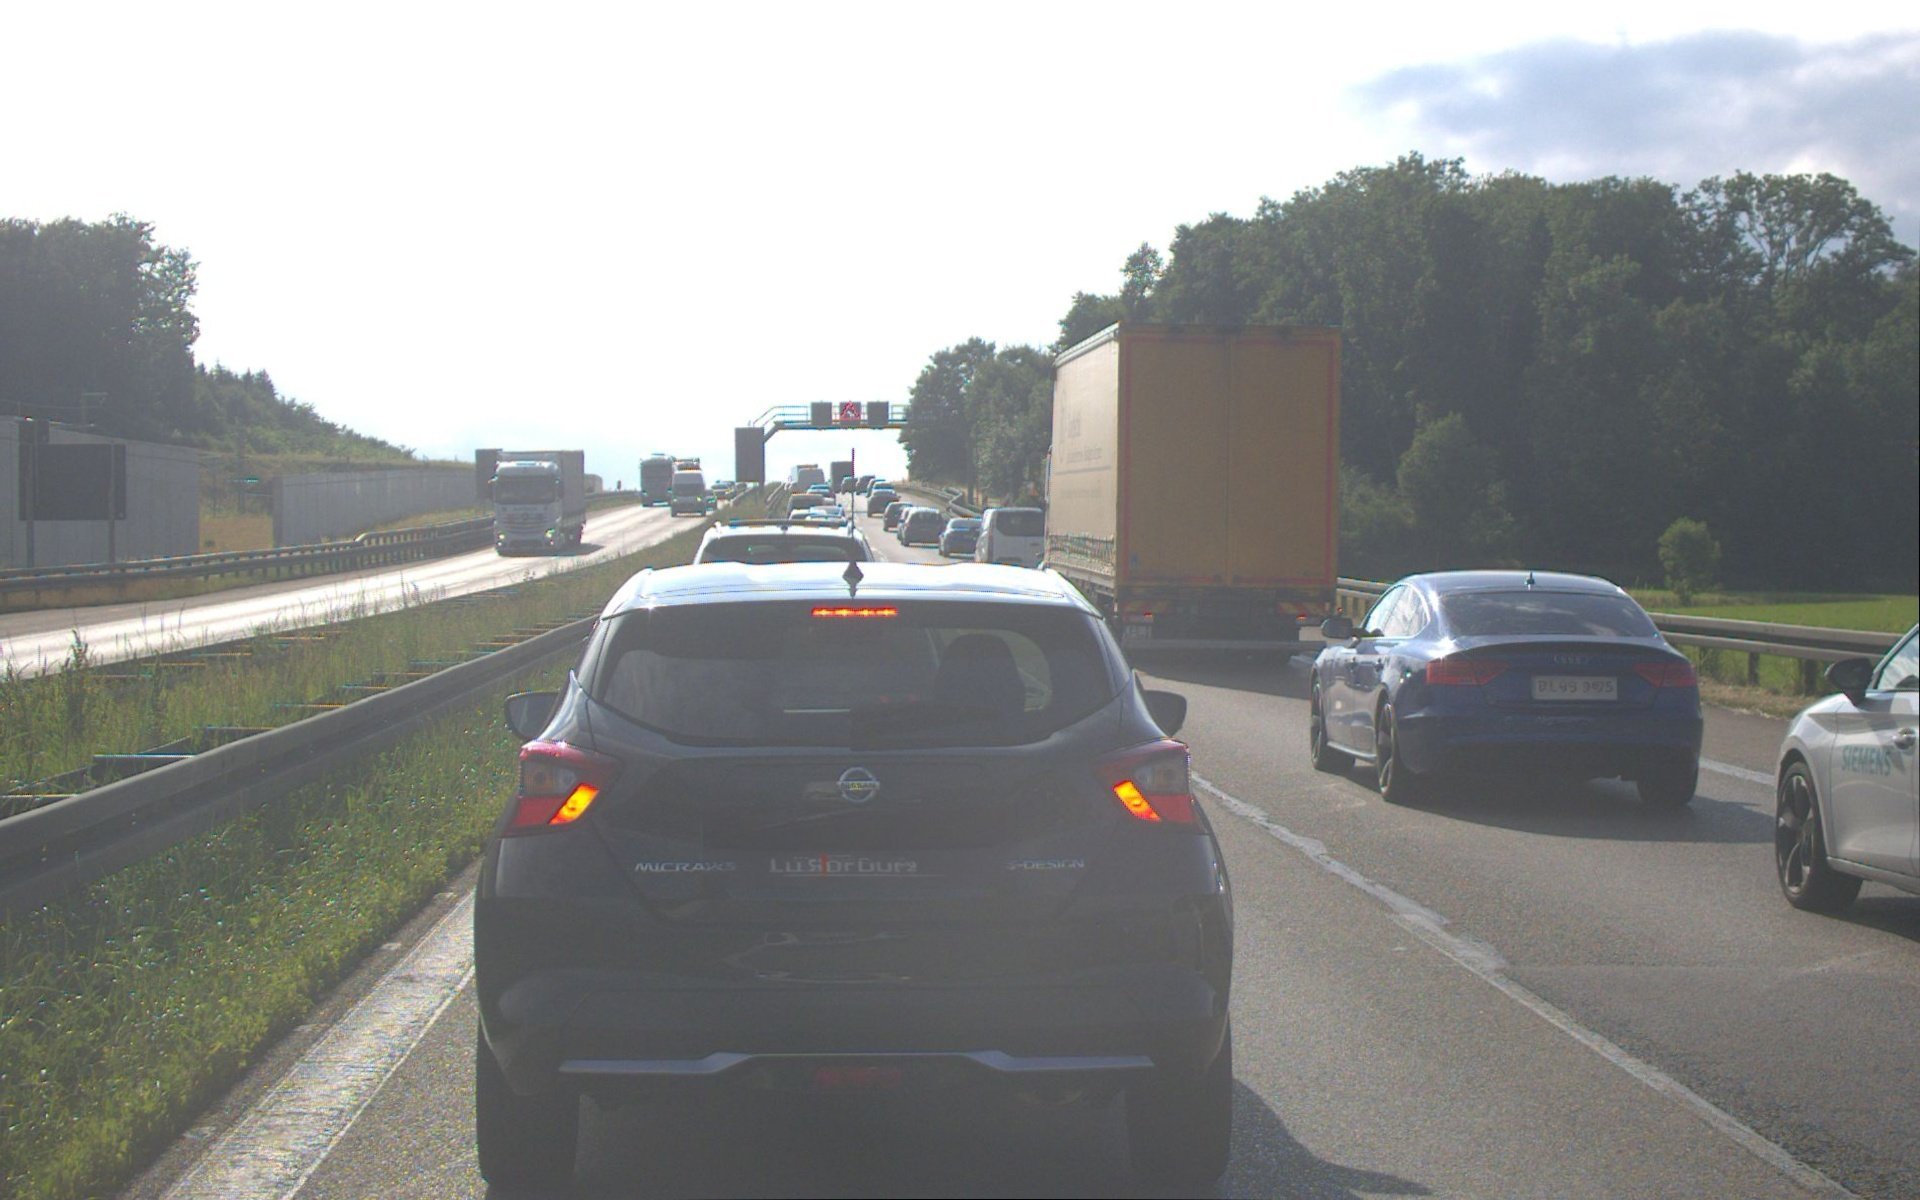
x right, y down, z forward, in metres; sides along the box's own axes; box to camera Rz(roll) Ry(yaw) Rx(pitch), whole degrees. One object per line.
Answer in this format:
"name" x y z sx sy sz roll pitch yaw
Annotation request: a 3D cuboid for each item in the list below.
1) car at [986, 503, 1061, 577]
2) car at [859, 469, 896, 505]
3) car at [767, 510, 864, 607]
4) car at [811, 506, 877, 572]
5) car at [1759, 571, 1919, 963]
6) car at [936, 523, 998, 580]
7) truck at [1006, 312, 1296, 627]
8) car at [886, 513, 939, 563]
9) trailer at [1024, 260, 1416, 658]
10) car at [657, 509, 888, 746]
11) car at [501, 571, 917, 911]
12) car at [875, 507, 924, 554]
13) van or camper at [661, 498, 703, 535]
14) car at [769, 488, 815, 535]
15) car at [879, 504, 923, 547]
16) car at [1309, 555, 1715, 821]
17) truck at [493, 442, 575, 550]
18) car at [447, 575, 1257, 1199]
"car" 1.517 -1.438 83.080 1.667 1.748 3.327 1 1 -1
"car" -4.805 -6.534 199.303 1.993 2.007 4.001 1 1 -3
"car" -3.130 -0.897 74.001 1.993 2.007 4.001 1 1 -3
"car" -3.689 -1.916 108.607 1.993 2.007 4.001 1 1 -3
"car" 4.358 0.627 12.640 1.620 1.440 4.147 1 0 -4
"car" 0.228 -1.741 124.797 1.993 2.007 4.001 1 1 -3
"truck" 2.733 -1.862 51.567 3.581 4.364 6.689 1 1 -3
"car" -1.988 -2.544 142.447 1.993 2.007 4.001 1 1 -3
"trailer" 3.053 -1.651 45.162 3.548 4.442 12.723 1 1 -3
"car" -1.412 0.185 26.996 1.674 1.720 3.596 1 0 -1
"car" -1.057 0.561 15.777 1.674 1.362 3.596 1 0 -1
"car" -2.651 -3.021 150.661 1.993 2.007 4.001 1 1 -3
"van or camper" -17.238 -5.165 213.487 2.166 2.198 6.259 1 1 -1
"car" -7.549 -3.945 154.077 1.993 2.007 4.001 1 1 -3
"car" -2.871 -3.599 166.757 1.993 2.007 4.001 1 1 -3
"car" 3.300 0.474 21.299 1.747 1.470 4.147 1 0 -1
"truck" -16.856 -4.076 136.265 2.637 4.084 7.003 1 1 -3
"car" -0.249 0.658 9.010 1.710 1.421 3.378 1 0 -1
